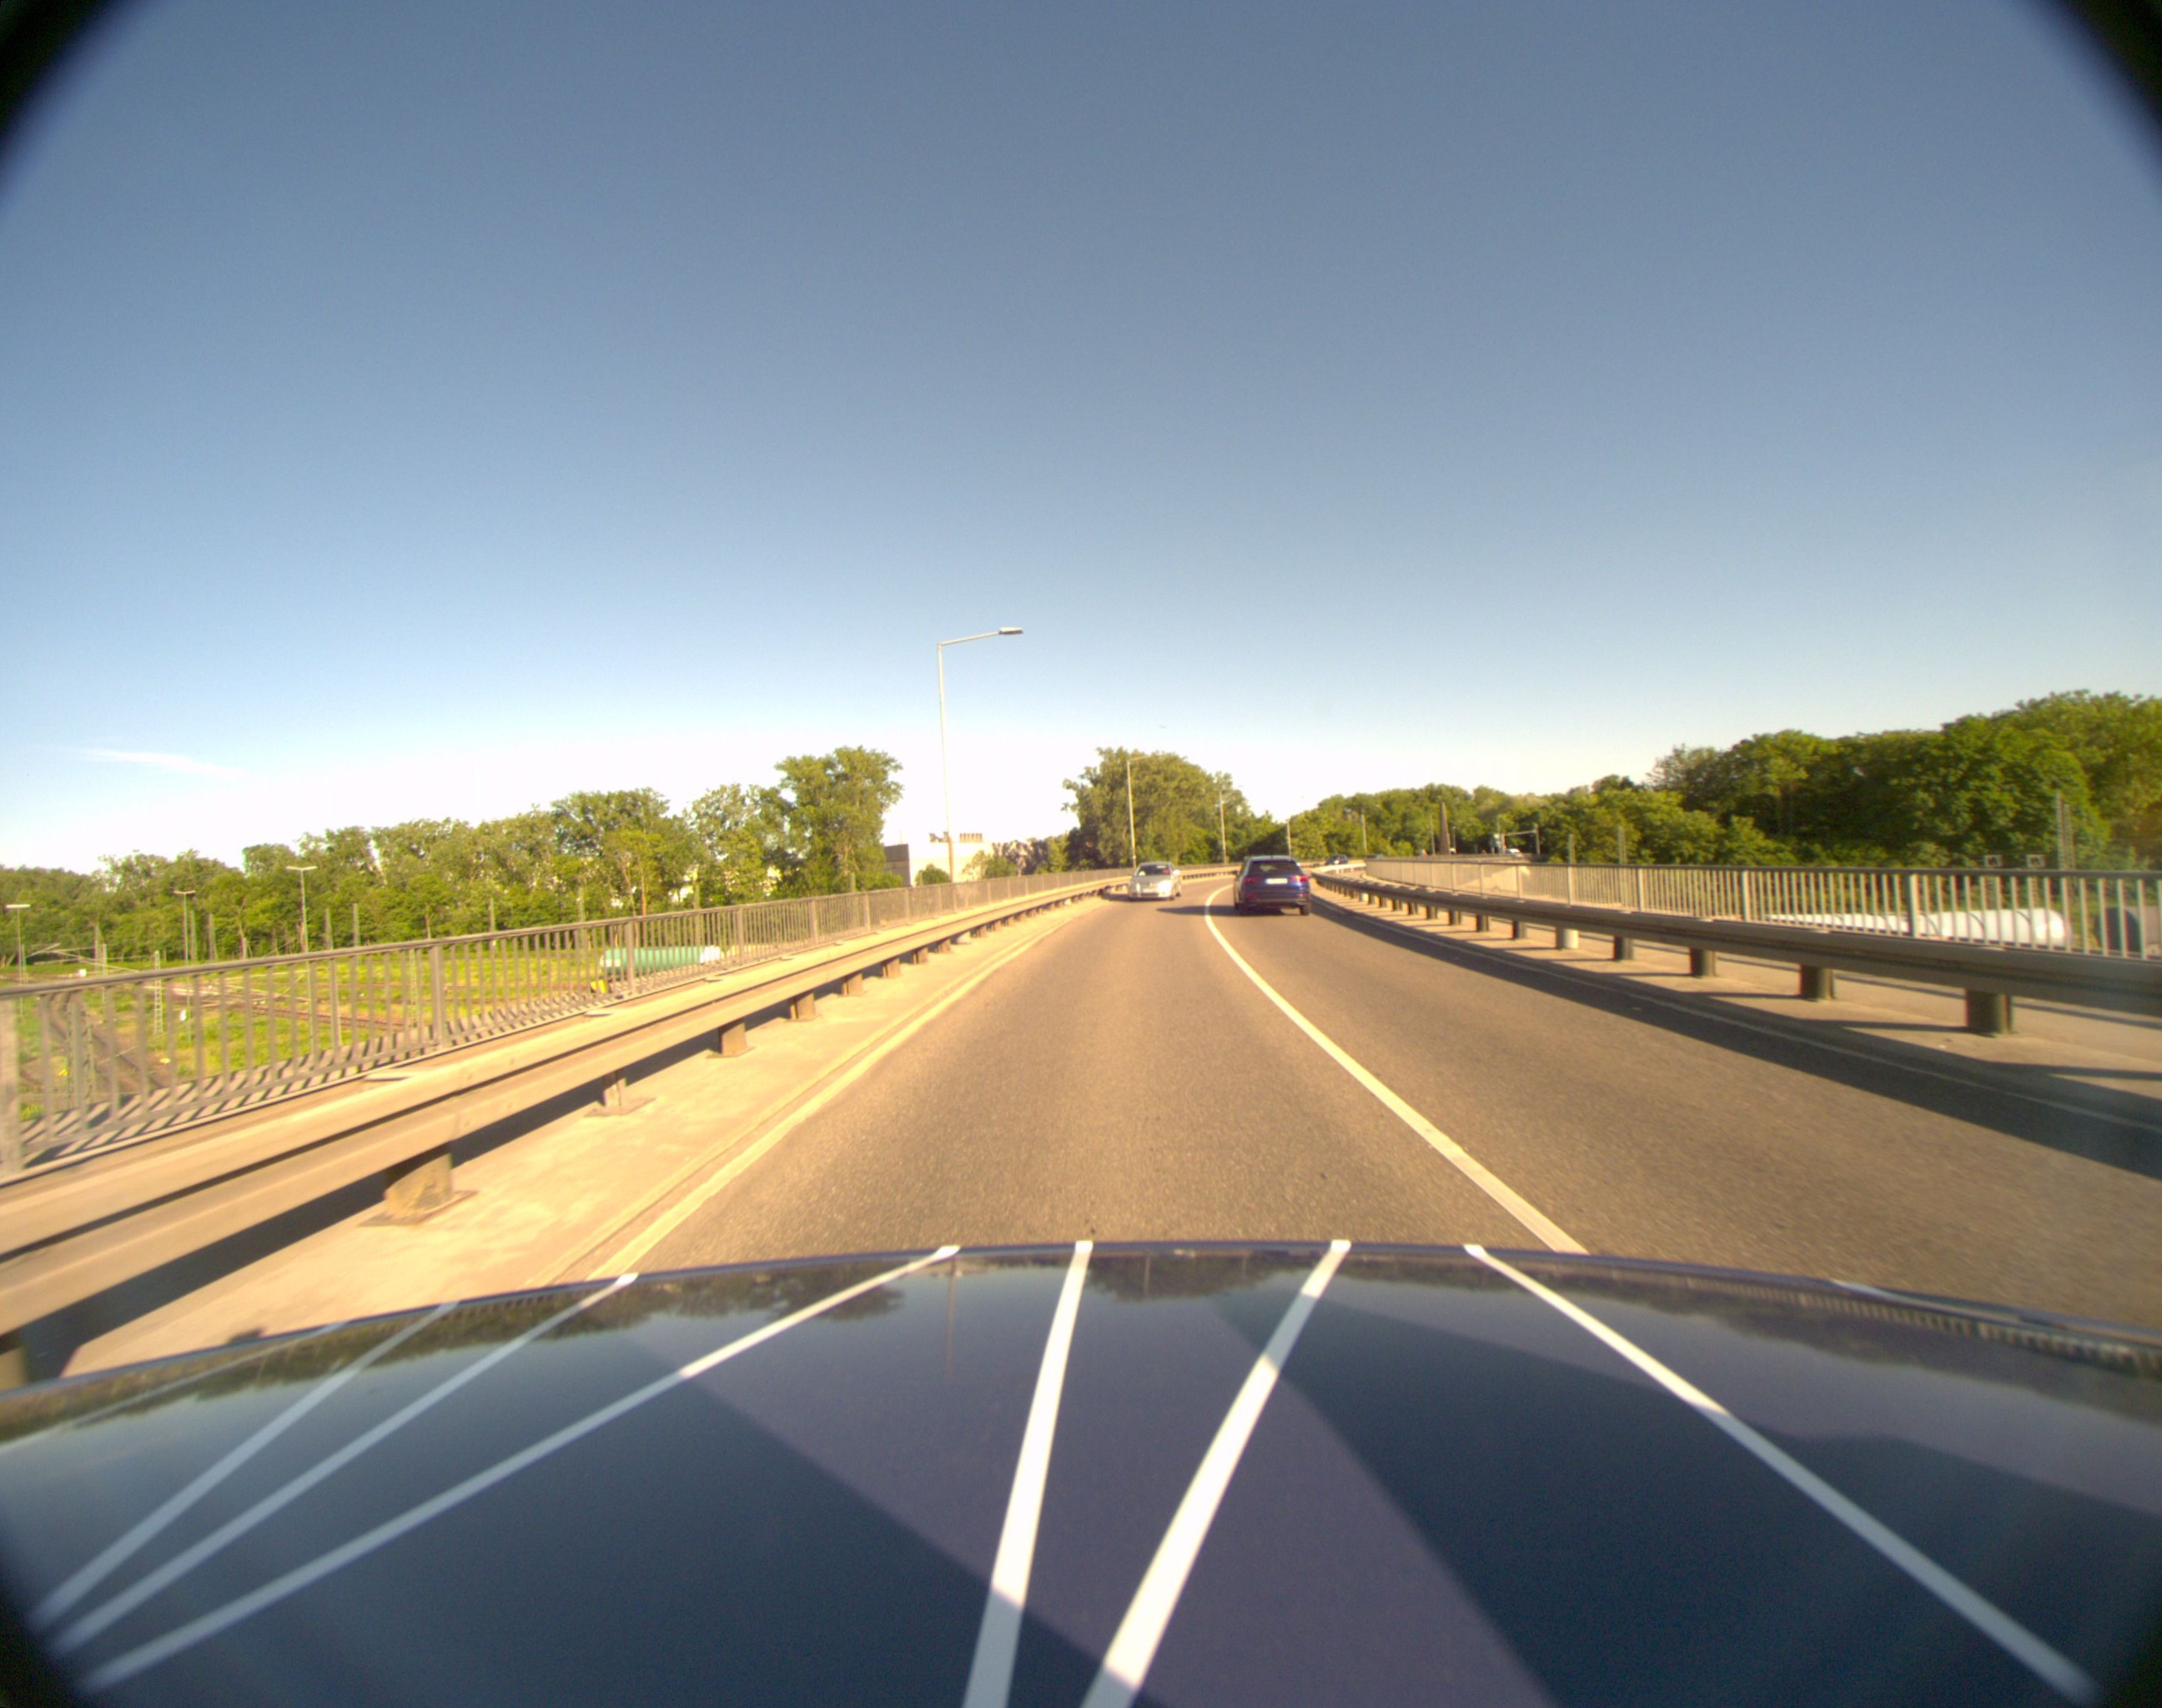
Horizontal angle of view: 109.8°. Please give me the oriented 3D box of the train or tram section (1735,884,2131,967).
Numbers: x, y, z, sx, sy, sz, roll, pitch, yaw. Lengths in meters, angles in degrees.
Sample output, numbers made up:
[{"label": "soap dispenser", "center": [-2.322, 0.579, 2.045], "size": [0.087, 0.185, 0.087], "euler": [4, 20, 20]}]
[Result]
[{"label": "train or tram section", "center": [52.385, 4.315, 47.755], "size": [16.733, 4.564, 3.911], "euler": [-1, 0, 19]}]

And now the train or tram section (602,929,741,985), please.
[{"label": "train or tram section", "center": [-42.929, 10.641, 79.478], "size": [15.146, 5.153, 3.341], "euler": [-1, 0, 19]}]

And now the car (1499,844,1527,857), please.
[{"label": "car", "center": [95.821, -0.703, 168.662], "size": [2.115, 2.483, 5.703], "euler": [-1, -2, -9]}]

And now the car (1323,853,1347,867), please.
[{"label": "car", "center": [29.741, 0.673, 88.837], "size": [1.918, 1.608, 3.750], "euler": [-1, 0, 31]}]

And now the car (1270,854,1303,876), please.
[{"label": "car", "center": [14.773, 0.765, 54.493], "size": [1.839, 1.510, 3.776], "euler": [-1, 0, 22]}]

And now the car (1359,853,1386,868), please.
[{"label": "car", "center": [32.600, 0.722, 84.924], "size": [1.849, 1.614, 4.111], "euler": [-1, 0, 36]}]

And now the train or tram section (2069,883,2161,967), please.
[{"label": "train or tram section", "center": [67.982, 3.937, 42.306], "size": [16.277, 4.564, 3.911], "euler": [-1, 0, 19]}]

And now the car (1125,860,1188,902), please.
[{"label": "car", "center": [3.000, 1.000, 29.533], "size": [1.762, 1.428, 4.335], "euler": [-1, 0, 14]}]

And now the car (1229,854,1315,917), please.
[{"label": "car", "center": [5.220, 0.801, 21.263], "size": [1.827, 1.543, 4.187], "euler": [-1, 0, 8]}]
